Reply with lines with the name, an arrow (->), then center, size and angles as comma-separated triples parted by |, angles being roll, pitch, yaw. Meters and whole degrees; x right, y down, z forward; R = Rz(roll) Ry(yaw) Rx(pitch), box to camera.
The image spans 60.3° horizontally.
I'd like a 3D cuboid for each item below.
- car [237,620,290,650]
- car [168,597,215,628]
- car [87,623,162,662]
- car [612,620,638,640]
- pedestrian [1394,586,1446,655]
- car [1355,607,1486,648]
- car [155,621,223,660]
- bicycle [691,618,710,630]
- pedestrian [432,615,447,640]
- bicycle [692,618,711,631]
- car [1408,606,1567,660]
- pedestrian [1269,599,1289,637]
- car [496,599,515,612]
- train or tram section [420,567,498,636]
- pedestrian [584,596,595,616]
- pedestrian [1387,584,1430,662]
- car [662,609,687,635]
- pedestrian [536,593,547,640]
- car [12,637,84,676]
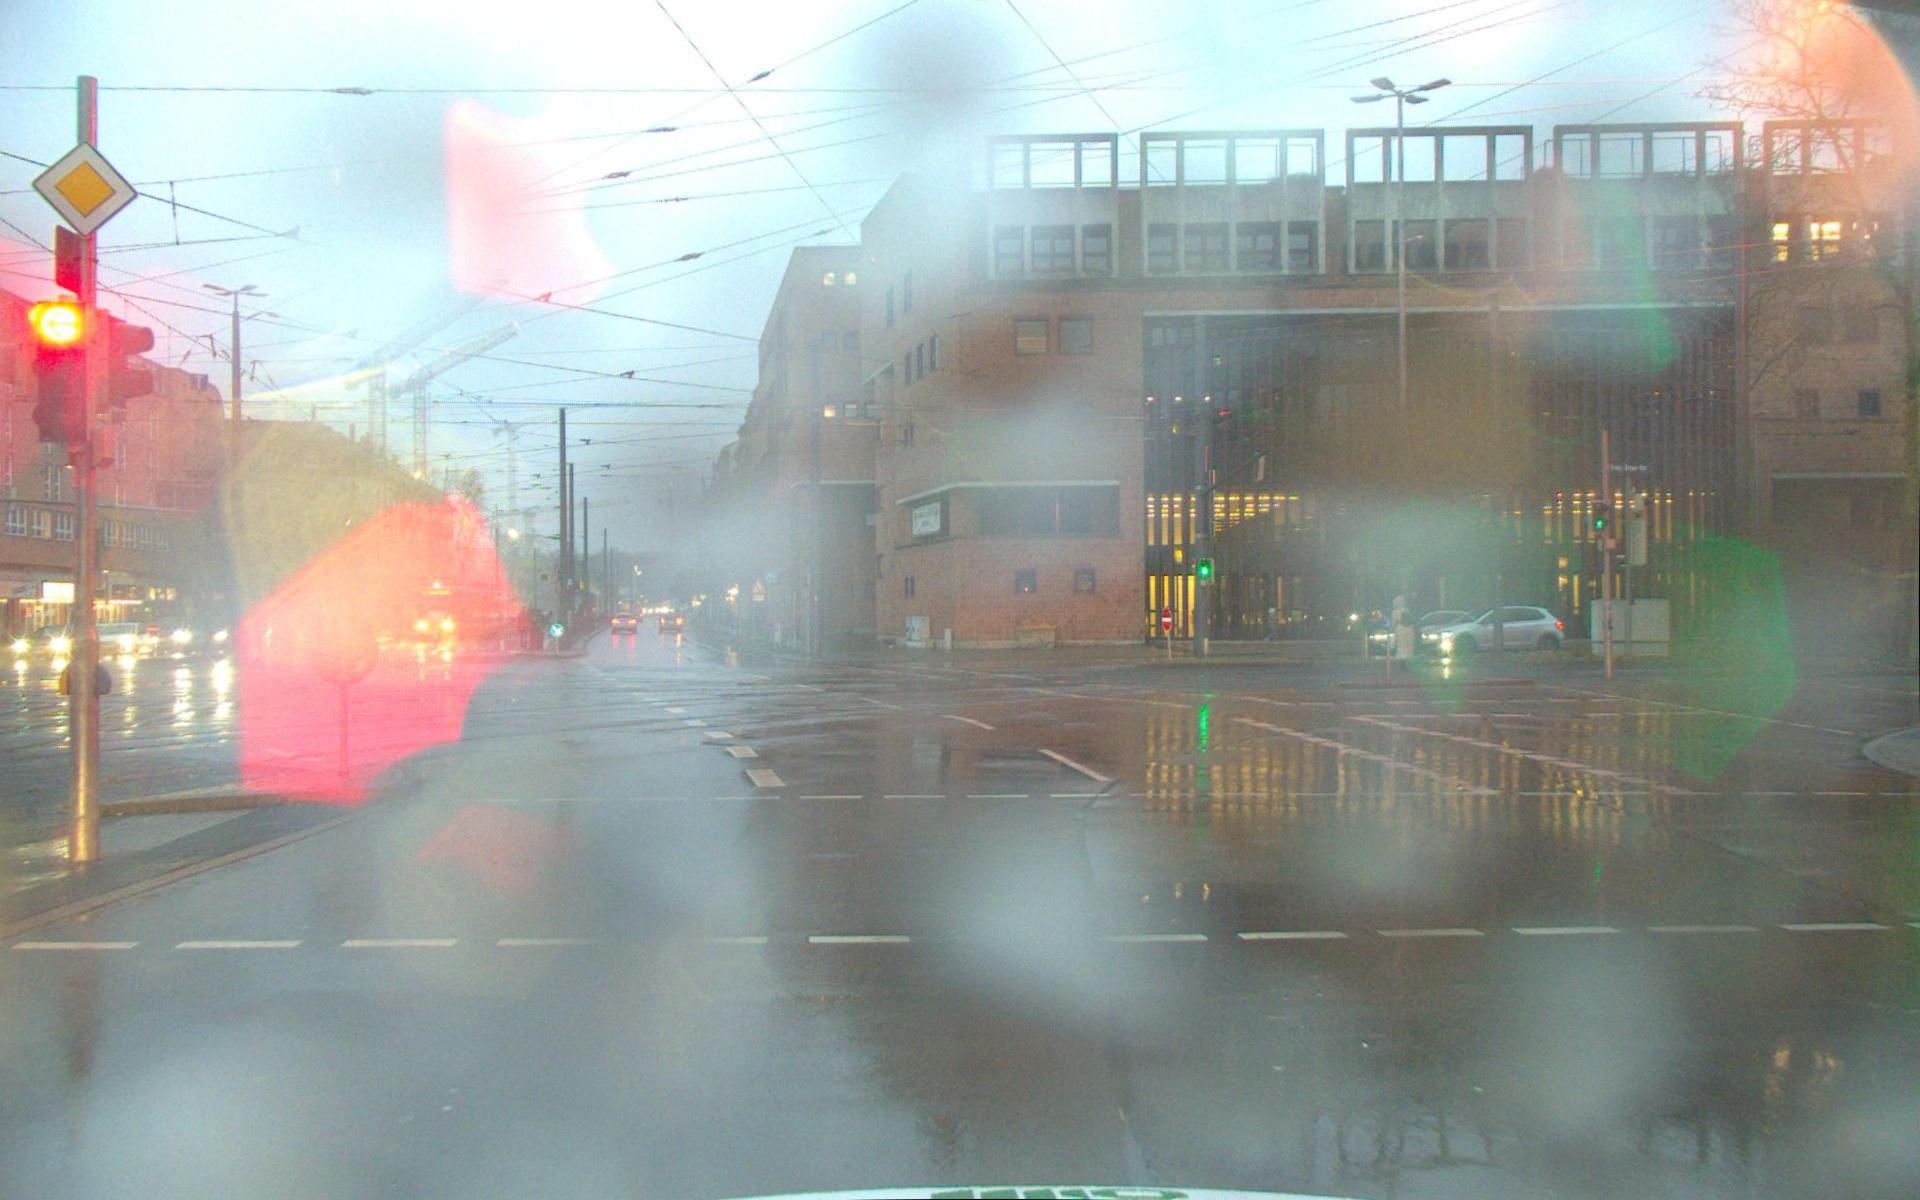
car -> -33.385, 1.654, 79.341 | 1.652, 1.378, 3.535 | 1, -1, -12
car -> -52.279, 0.824, 112.604 | 1.958, 2.049, 3.989 | 1, -1, -11
car -> -35.093, 1.764, 69.573 | 1.638, 1.521, 4.191 | -1, 0, -10
car -> -25.184, 2.253, 124.489 | 1.751, 1.492, 3.141 | -1, 0, -9
pedestrian -> 12.384, 0.550, 44.555 | 1.128, 1.818, 0.775 | -1, 0, -10
car -> 15.673, 0.924, 56.333 | 3.908, 1.333, 1.810 | 0, -1, -9
car -> -35.897, 1.865, 77.081 | 1.796, 1.739, 4.692 | 0, 0, -11
bicycle -> -23.871, 2.190, 152.273 | 1.700, 1.073, 0.370 | -2, 0, -13
pedestrian -> -24.218, 1.276, 76.995 | 0.569, 1.173, 0.489 | 1, -1, -10
bicycle -> -23.709, 2.232, 151.679 | 1.700, 1.073, 0.370 | -2, 0, -13
car -> 15.015, 0.926, 47.172 | 3.907, 1.364, 1.811 | -2, 0, -9
pedestrian -> 12.081, 0.682, 62.603 | 0.721, 1.413, 0.738 | -1, 0, 10
car -> -48.107, 0.595, 175.016 | 1.652, 1.378, 3.535 | 1, -1, -12
train or tram section -> -28.691, 0.121, 95.218 | 2.897, 3.652, 12.223 | 1, -1, -10
pedestrian -> -28.483, 0.476, 127.164 | 0.671, 1.542, 0.614 | 1, -1, -24
pedestrian -> 10.661, 0.547, 39.322 | 0.721, 1.818, 0.732 | -1, 0, -14
car -> -23.590, 1.818, 136.781 | 1.957, 2.049, 3.991 | -1, 0, -9
pedestrian -> -16.761, 0.672, 66.189 | 0.405, 1.878, 0.667 | 0, -1, -16
car -> -38.159, 2.328, 69.290 | 1.553, 1.521, 3.587 | -1, 0, -10
